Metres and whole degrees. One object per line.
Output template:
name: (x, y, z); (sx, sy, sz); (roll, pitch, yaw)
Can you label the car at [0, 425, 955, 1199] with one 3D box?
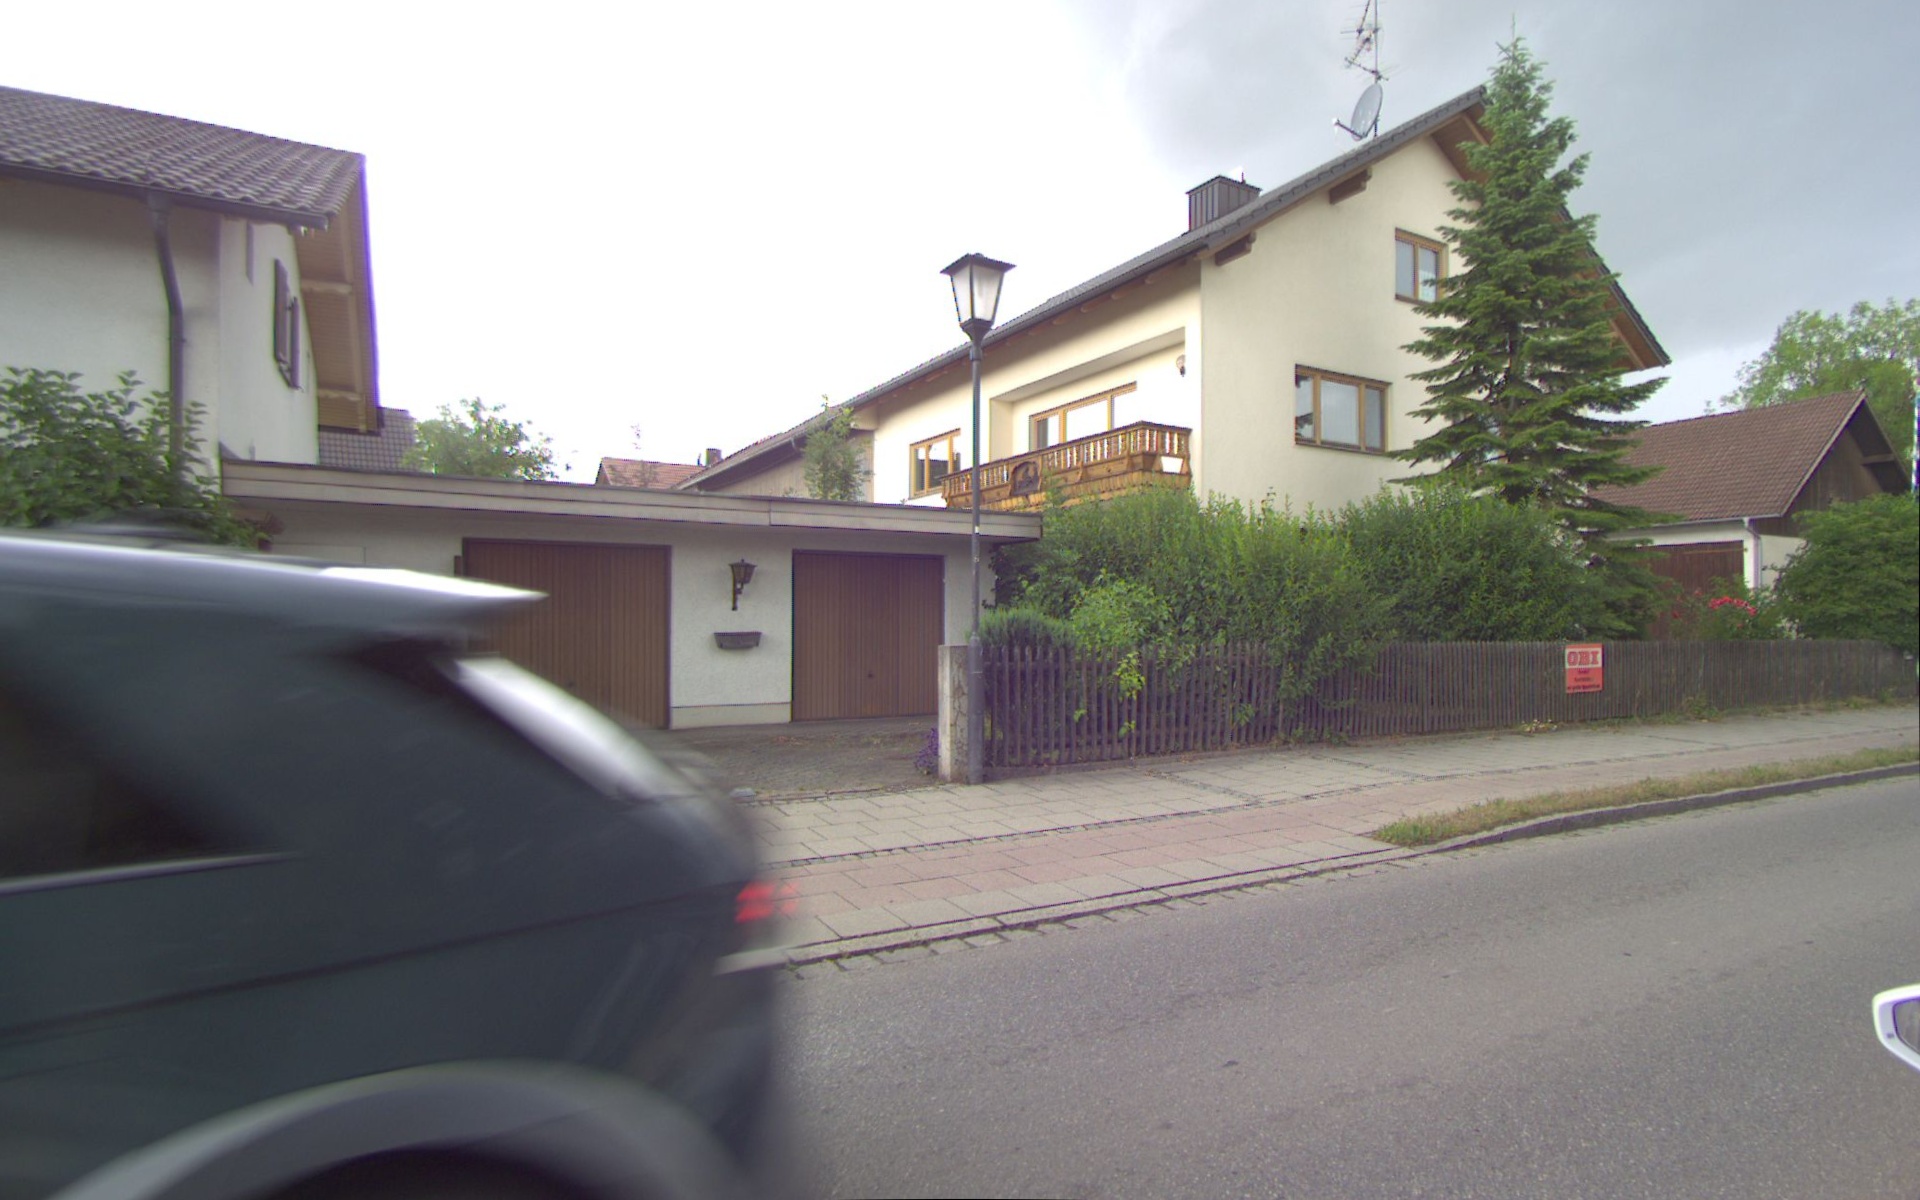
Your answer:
car: (-2.321, 0.612, 1.349); (4.261, 1.596, 1.921); (1, -1, -30)
